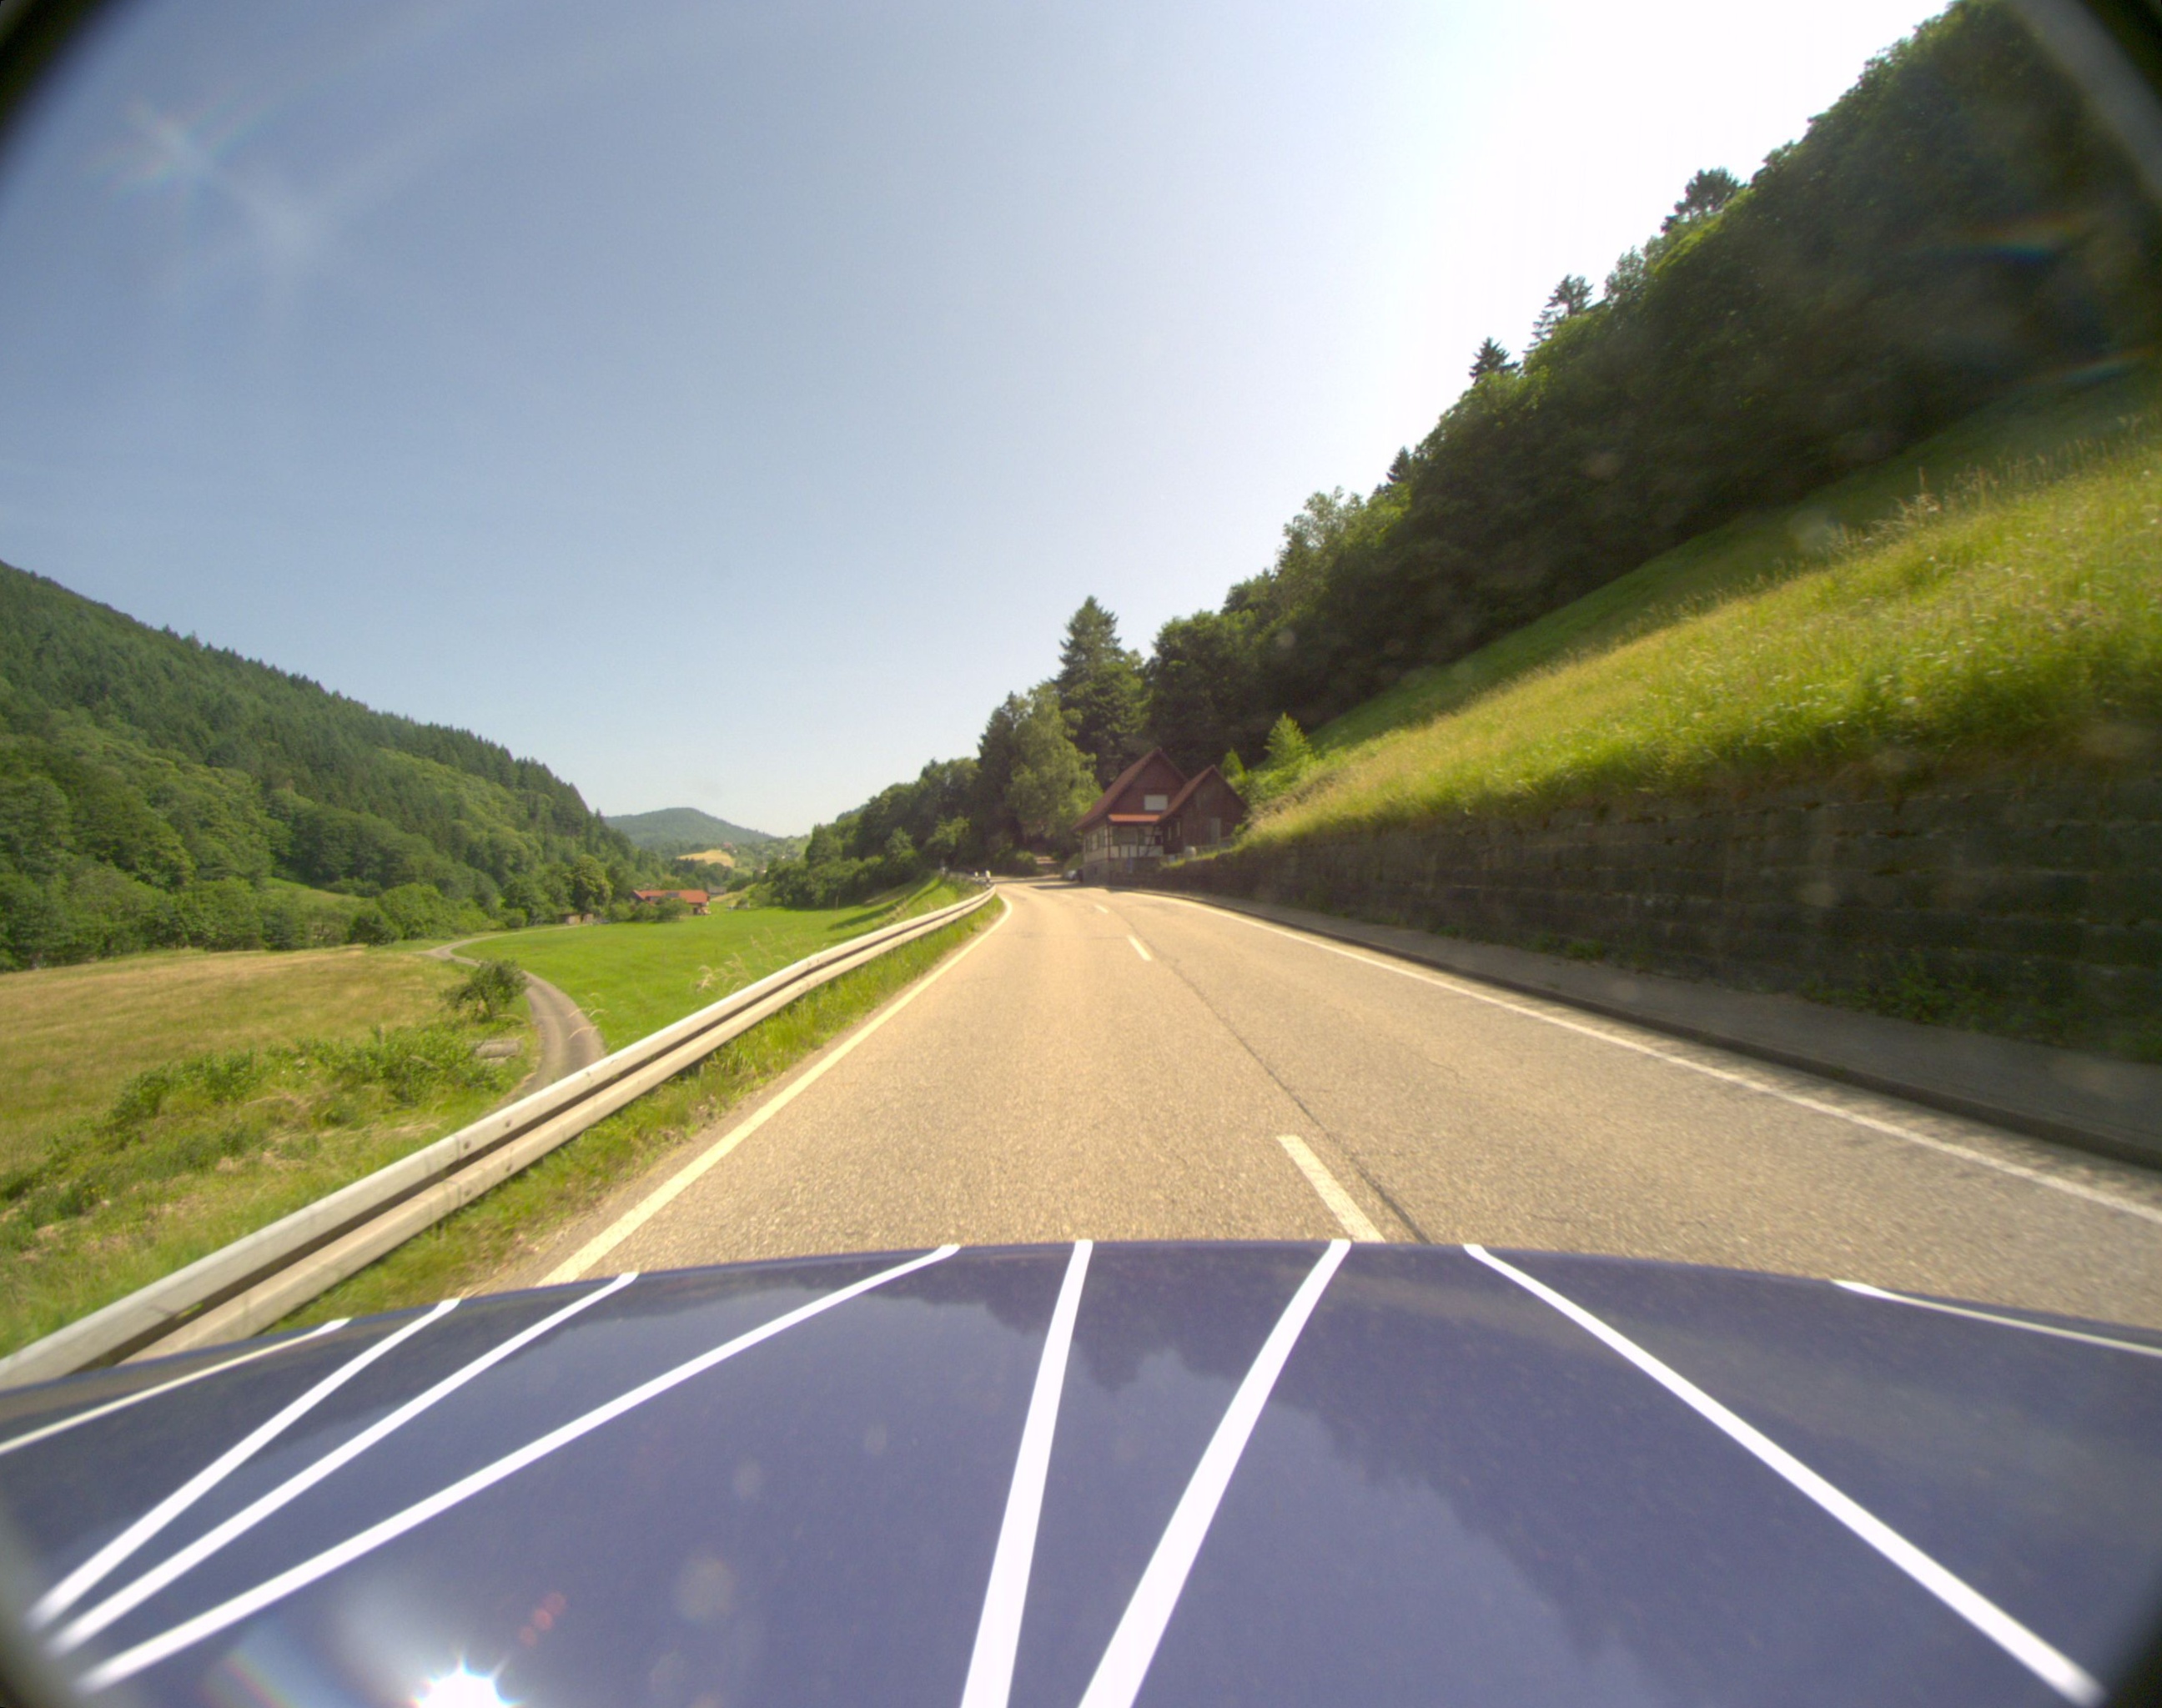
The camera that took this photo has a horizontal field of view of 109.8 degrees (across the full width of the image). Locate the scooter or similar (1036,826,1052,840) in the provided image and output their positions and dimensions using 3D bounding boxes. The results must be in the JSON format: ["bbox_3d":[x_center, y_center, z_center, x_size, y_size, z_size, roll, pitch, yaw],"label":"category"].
[{"bbox_3d":[-5.884,-3.318,120.526,1.984,2.015,4.402,-6,1,-7],"label":"scooter or similar"}]

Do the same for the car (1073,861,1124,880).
[{"bbox_3d":[1.443,1.318,62.182,3.830,1.424,1.861,-1,1,-14],"label":"car"}]

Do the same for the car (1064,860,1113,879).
[{"bbox_3d":[0.636,1.339,64.691,3.830,1.408,1.855,-2,-1,-15],"label":"car"}]

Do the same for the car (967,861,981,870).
[{"bbox_3d":[-19.798,2.143,140.647,1.771,1.388,4.138,-3,1,-17],"label":"car"}]
